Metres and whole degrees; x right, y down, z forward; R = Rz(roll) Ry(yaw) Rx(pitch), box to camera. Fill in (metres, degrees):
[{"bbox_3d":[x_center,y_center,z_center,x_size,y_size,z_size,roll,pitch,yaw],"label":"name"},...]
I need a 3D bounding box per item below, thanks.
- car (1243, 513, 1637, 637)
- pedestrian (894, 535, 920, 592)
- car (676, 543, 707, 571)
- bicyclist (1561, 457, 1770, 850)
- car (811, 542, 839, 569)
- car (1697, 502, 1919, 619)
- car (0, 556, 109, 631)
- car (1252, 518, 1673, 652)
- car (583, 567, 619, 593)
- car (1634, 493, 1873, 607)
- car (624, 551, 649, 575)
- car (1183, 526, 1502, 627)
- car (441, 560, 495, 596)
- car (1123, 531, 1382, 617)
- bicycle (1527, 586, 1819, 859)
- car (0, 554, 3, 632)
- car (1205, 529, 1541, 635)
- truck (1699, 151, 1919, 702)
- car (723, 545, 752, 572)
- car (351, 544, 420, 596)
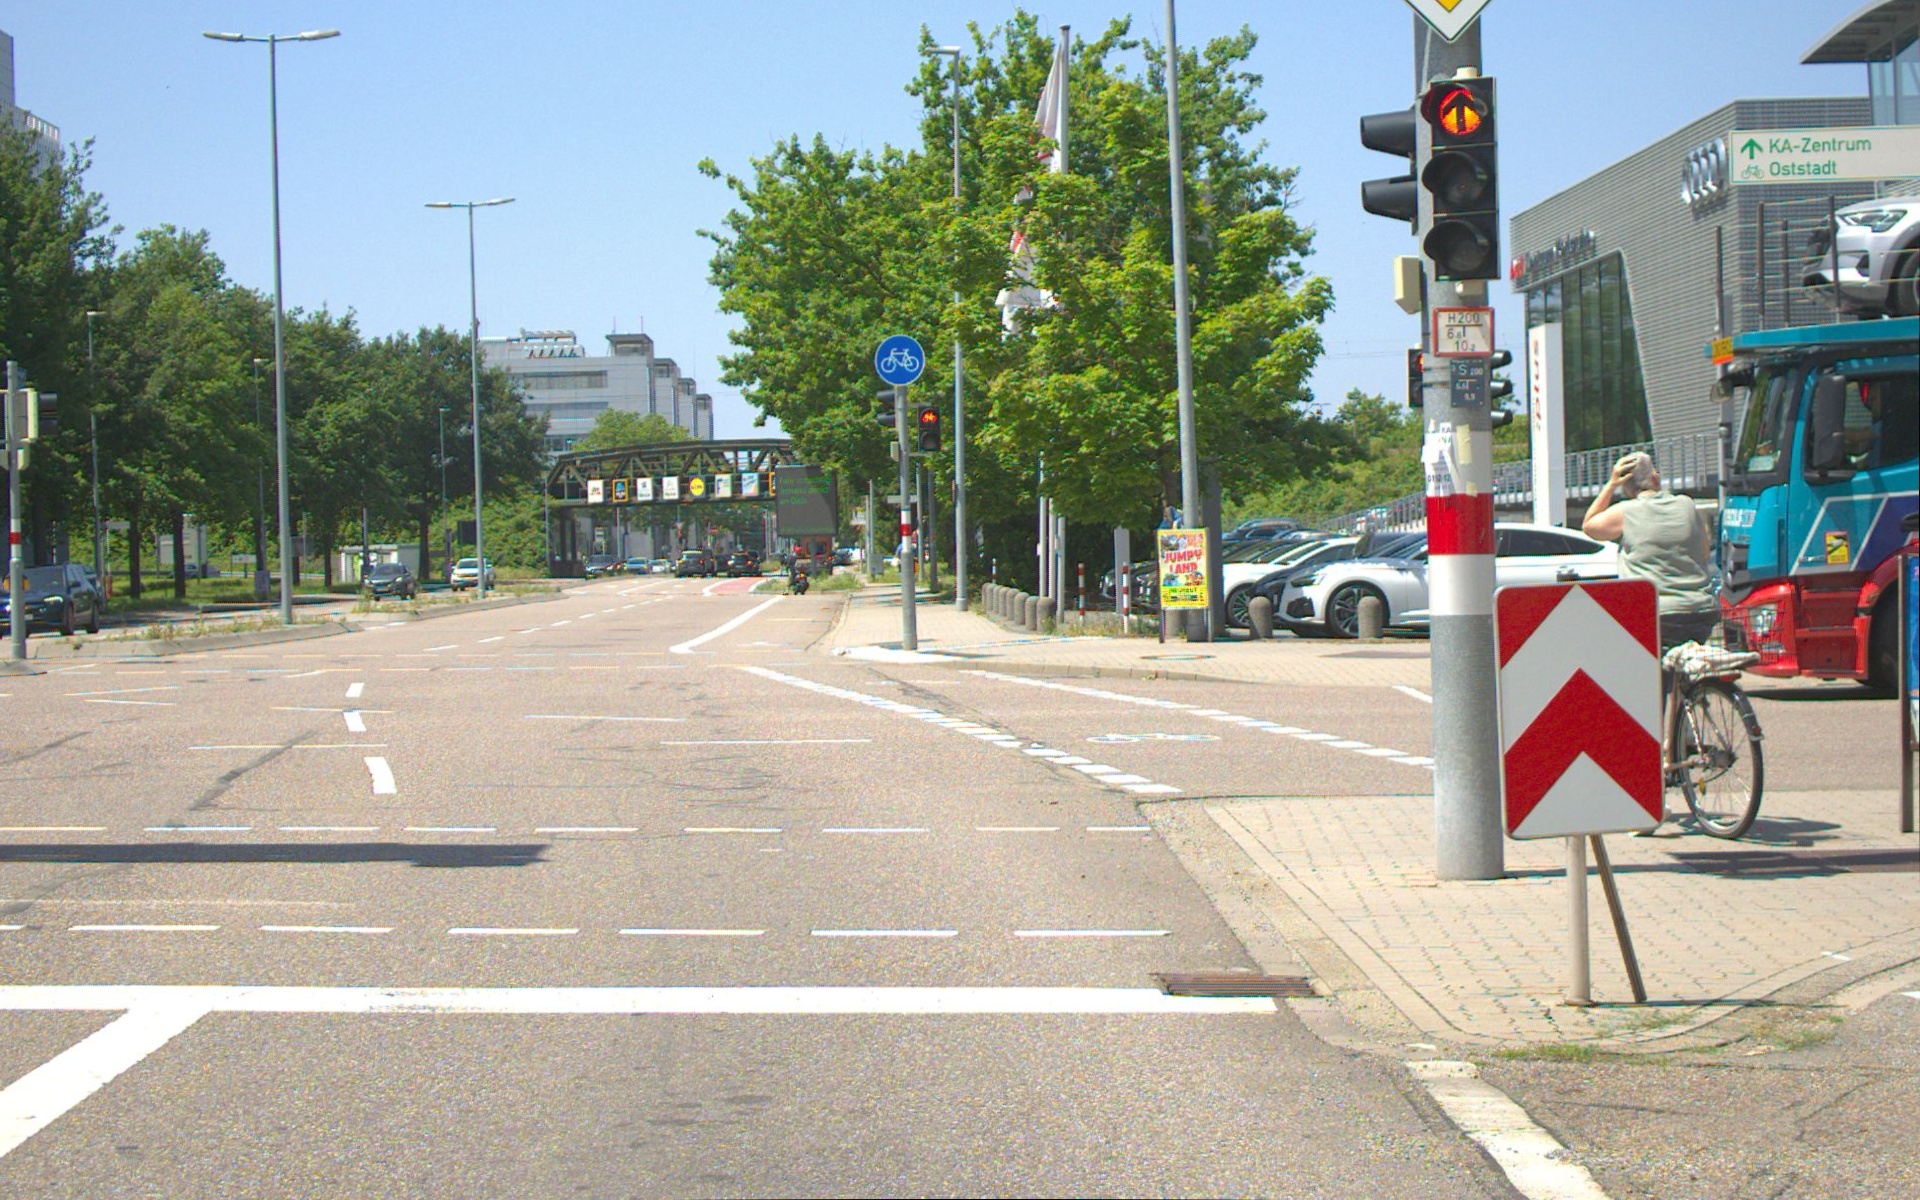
[{"bbox_3d":[6.076,-0.314,43.942,4.741,1.452,2.000,-1,0,1],"label":"car"},{"bbox_3d":[-1.422,-0.990,91.995,0.668,1.505,0.736,-1,1,-2],"label":"pedestrian"},{"bbox_3d":[-17.485,-2.800,224.216,1.772,1.722,4.000,-2,1,-2],"label":"car"},{"bbox_3d":[3.209,0.227,15.679,0.733,1.743,0.754,0,2,-6],"label":"bicyclist"},{"bbox_3d":[-8.921,-2.956,227.204,1.772,1.722,4.000,-2,1,-2],"label":"car"},{"bbox_3d":[15.657,-0.731,62.590,3.987,2.007,2.000,-2,1,-1],"label":"car"},{"bbox_3d":[-20.701,-0.164,77.783,1.875,1.593,4.497,-2,1,-2],"label":"car"},{"bbox_3d":[5.962,-0.195,41.231,4.741,1.452,2.000,-1,2,1],"label":"car"},{"bbox_3d":[-21.291,-1.190,203.992,1.732,1.422,3.706,-3,1,-2],"label":"car"},{"bbox_3d":[14.912,-0.950,64.757,3.987,2.007,2.000,-2,1,-1],"label":"car"},{"bbox_3d":[-23.387,-2.658,248.406,1.648,1.647,4.164,-2,1,-4],"label":"car"},{"bbox_3d":[6.036,-0.388,54.607,4.741,1.452,2.000,-1,2,-3],"label":"car"},{"bbox_3d":[-23.898,-1.087,167.210,1.926,1.659,4.089,-2,1,1],"label":"car"},{"bbox_3d":[5.671,-0.525,66.979,4.741,1.452,2.000,-2,2,-3],"label":"car"},{"bbox_3d":[3.231,0.523,15.765,0.786,1.123,1.921,0,2,-5],"label":"bicycle"},{"bbox_3d":[-25.620,-0.131,86.158,1.993,2.001,4.764,-2,1,-1],"label":"car"},{"bbox_3d":[6.186,-0.291,51.877,4.741,1.452,2.000,-1,2,-3],"label":"car"},{"bbox_3d":[11.343,-1.439,26.658,10.620,4.068,3.100,-1,2,6],"label":"truck"},{"bbox_3d":[-14.752,-2.774,228.056,1.772,1.722,4.000,-2,1,-2],"label":"car"},{"bbox_3d":[-23.544,-1.199,141.102,1.993,2.007,3.999,-1,-1,2],"label":"car"}]
